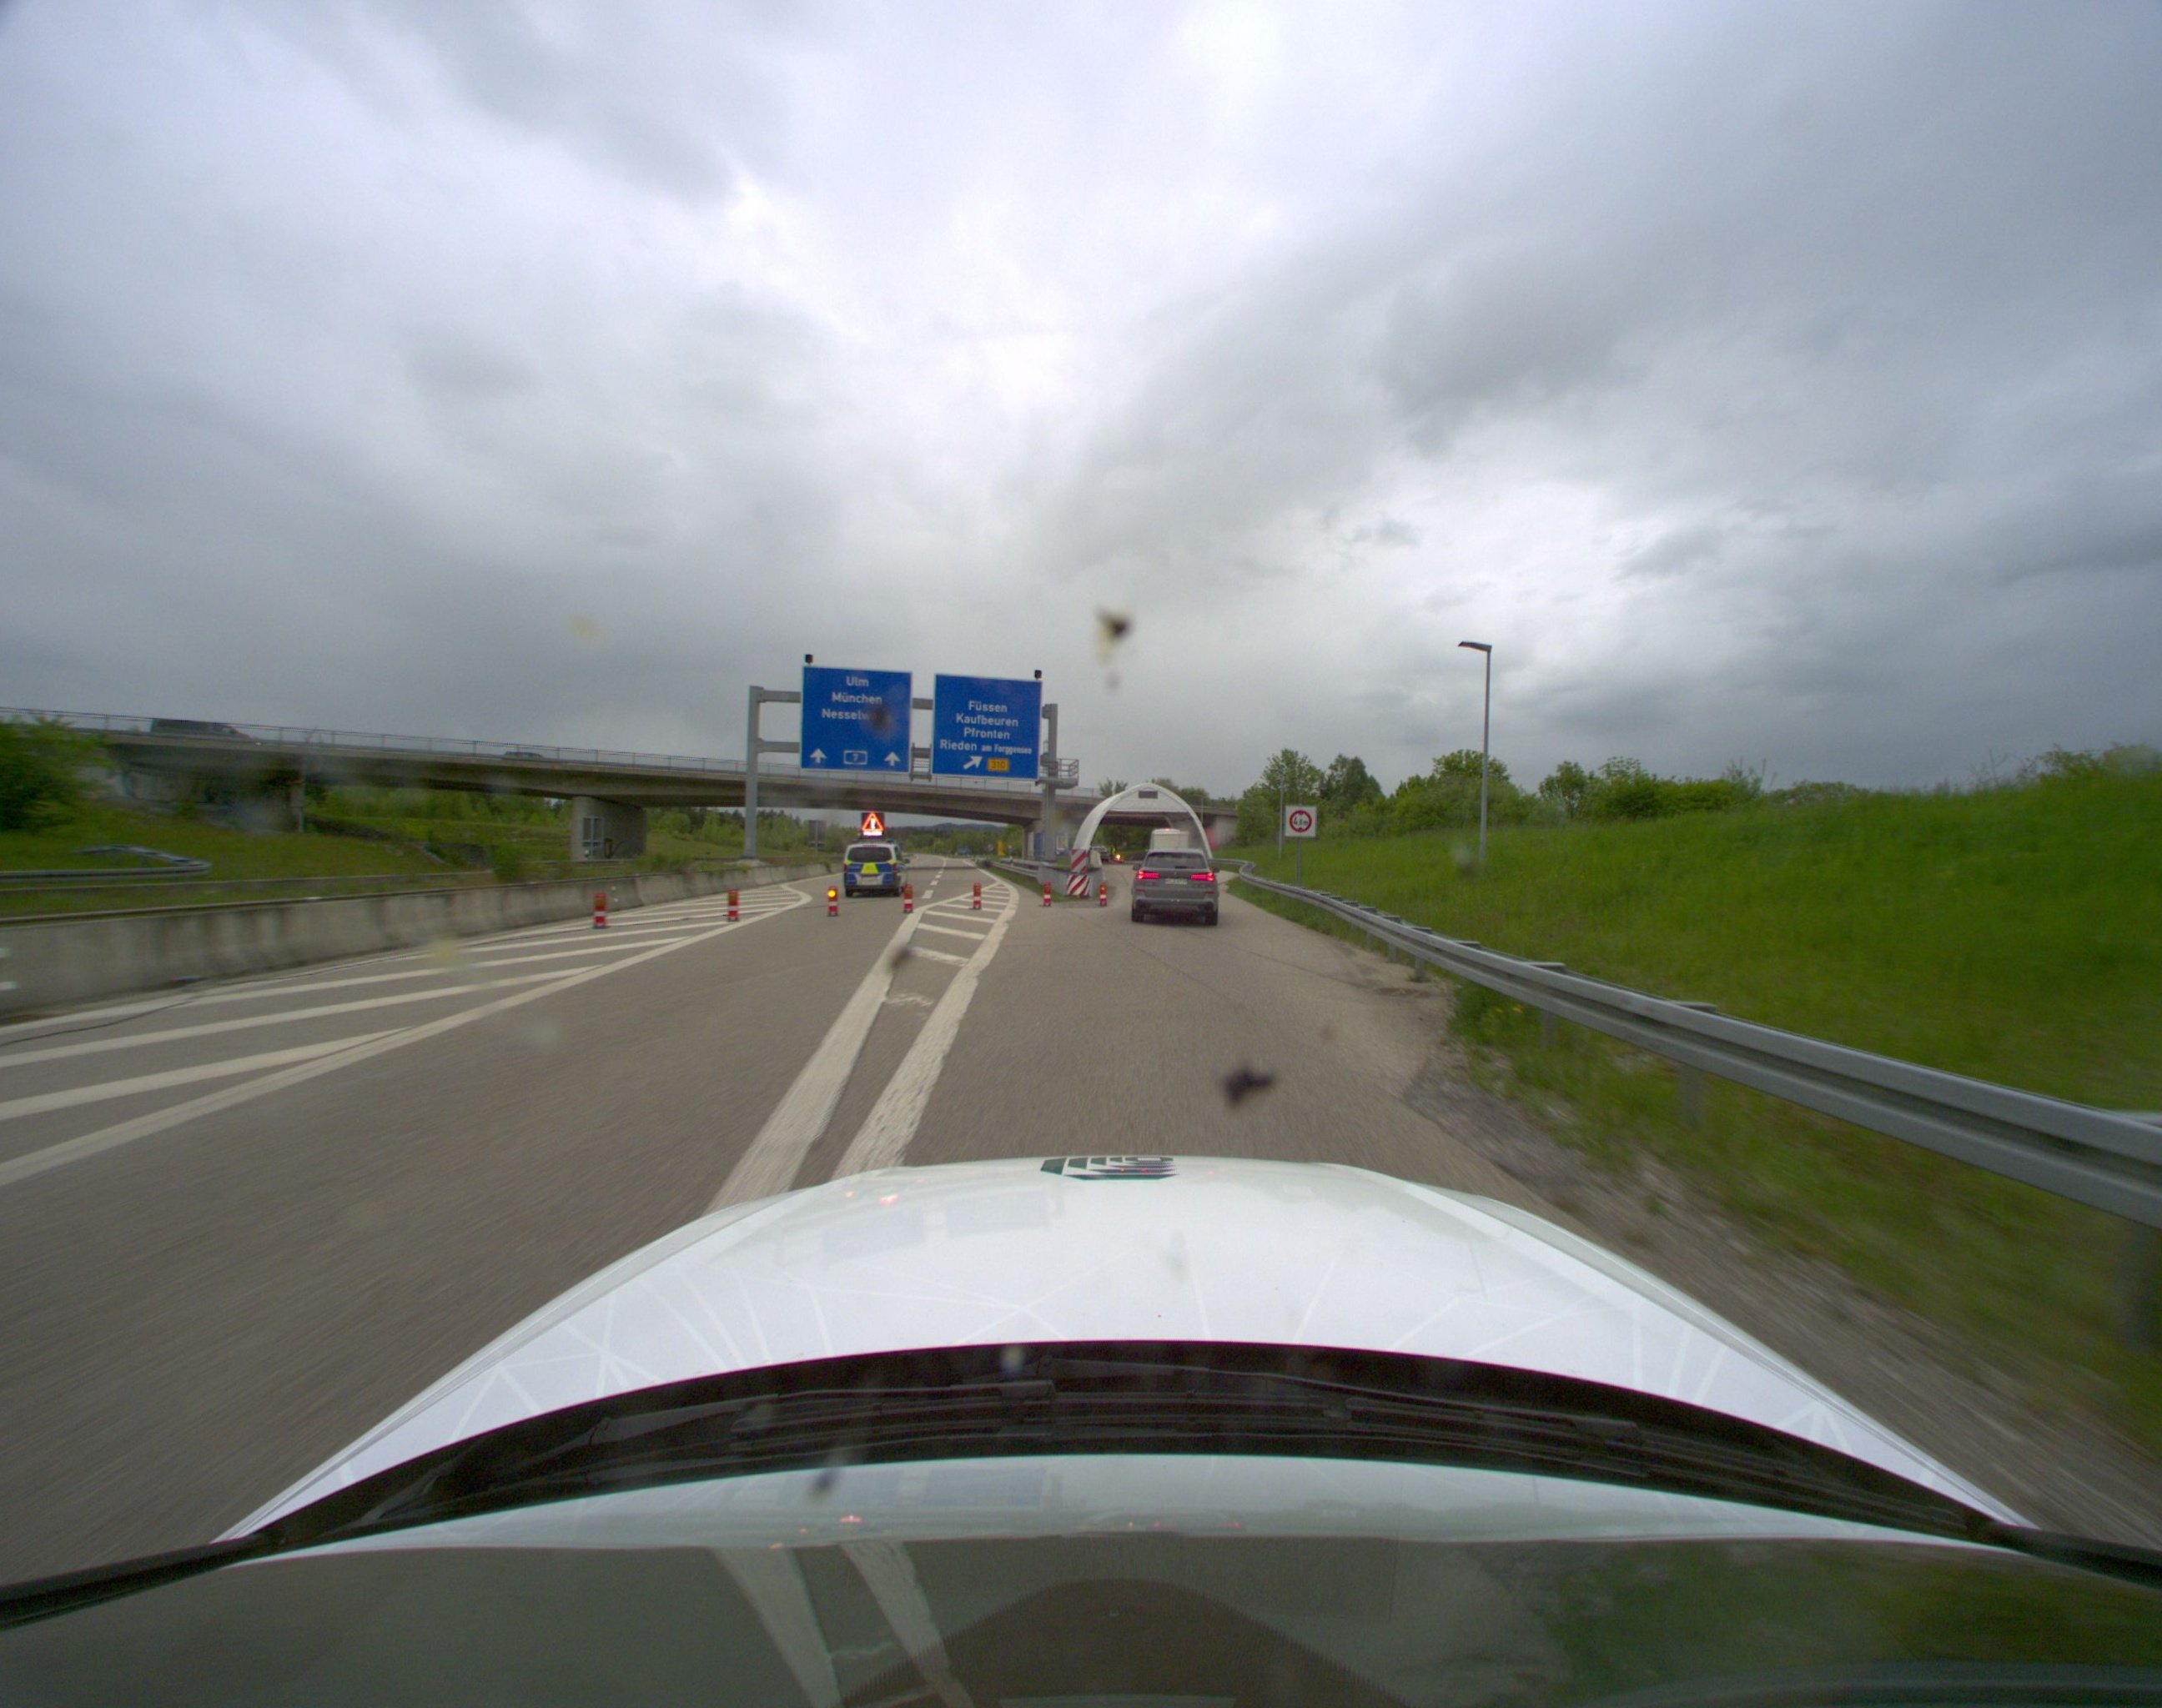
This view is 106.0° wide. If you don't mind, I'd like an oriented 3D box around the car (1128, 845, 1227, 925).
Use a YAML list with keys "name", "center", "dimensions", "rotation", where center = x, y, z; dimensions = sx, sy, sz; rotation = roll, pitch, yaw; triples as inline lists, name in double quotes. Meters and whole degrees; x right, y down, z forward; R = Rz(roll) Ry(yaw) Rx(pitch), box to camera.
- name: "car"
  center: [2.428, 0.676, 19.671]
  dimensions: [1.980, 1.719, 4.013]
  rotation: [0, 0, 12]

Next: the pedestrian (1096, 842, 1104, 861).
- name: "pedestrian"
  center: [1.926, -0.263, 81.250]
  dimensions: [0.719, 1.945, 0.689]
  rotation: [-1, 0, -5]

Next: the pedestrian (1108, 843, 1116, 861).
- name: "pedestrian"
  center: [3.097, -0.210, 81.090]
  dimensions: [0.647, 1.775, 0.604]
  rotation: [-1, 0, -7]

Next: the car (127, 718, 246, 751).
- name: "car"
  center: [-59.650, -7.958, 54.452]
  dimensions: [4.957, 1.648, 1.980]
  rotation: [-1, 0, -33]

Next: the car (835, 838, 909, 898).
- name: "car"
  center: [-7.567, 0.431, 29.996]
  dimensions: [2.286, 2.013, 5.032]
  rotation: [0, 1, -10]

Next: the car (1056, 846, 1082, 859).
- name: "car"
  center: [-1.400, -0.209, 93.189]
  dimensions: [1.524, 1.442, 3.283]
  rotation: [-1, 0, -30]

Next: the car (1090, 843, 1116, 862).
- name: "car"
  center: [2.077, -0.160, 77.731]
  dimensions: [1.990, 1.772, 3.759]
  rotation: [-1, 0, -5]

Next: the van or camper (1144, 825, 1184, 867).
- name: "van or camper"
  center: [5.733, -0.497, 56.839]
  dimensions: [2.150, 2.763, 5.870]
  rotation: [0, 0, 0]

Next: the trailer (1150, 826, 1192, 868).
- name: "trailer"
  center: [5.489, -0.377, 50.474]
  dimensions: [2.269, 2.430, 6.824]
  rotation: [0, 0, 4]

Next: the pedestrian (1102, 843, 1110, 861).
- name: "pedestrian"
  center: [2.429, -0.184, 80.255]
  dimensions: [0.719, 1.775, 0.689]
  rotation: [-1, 0, -5]
